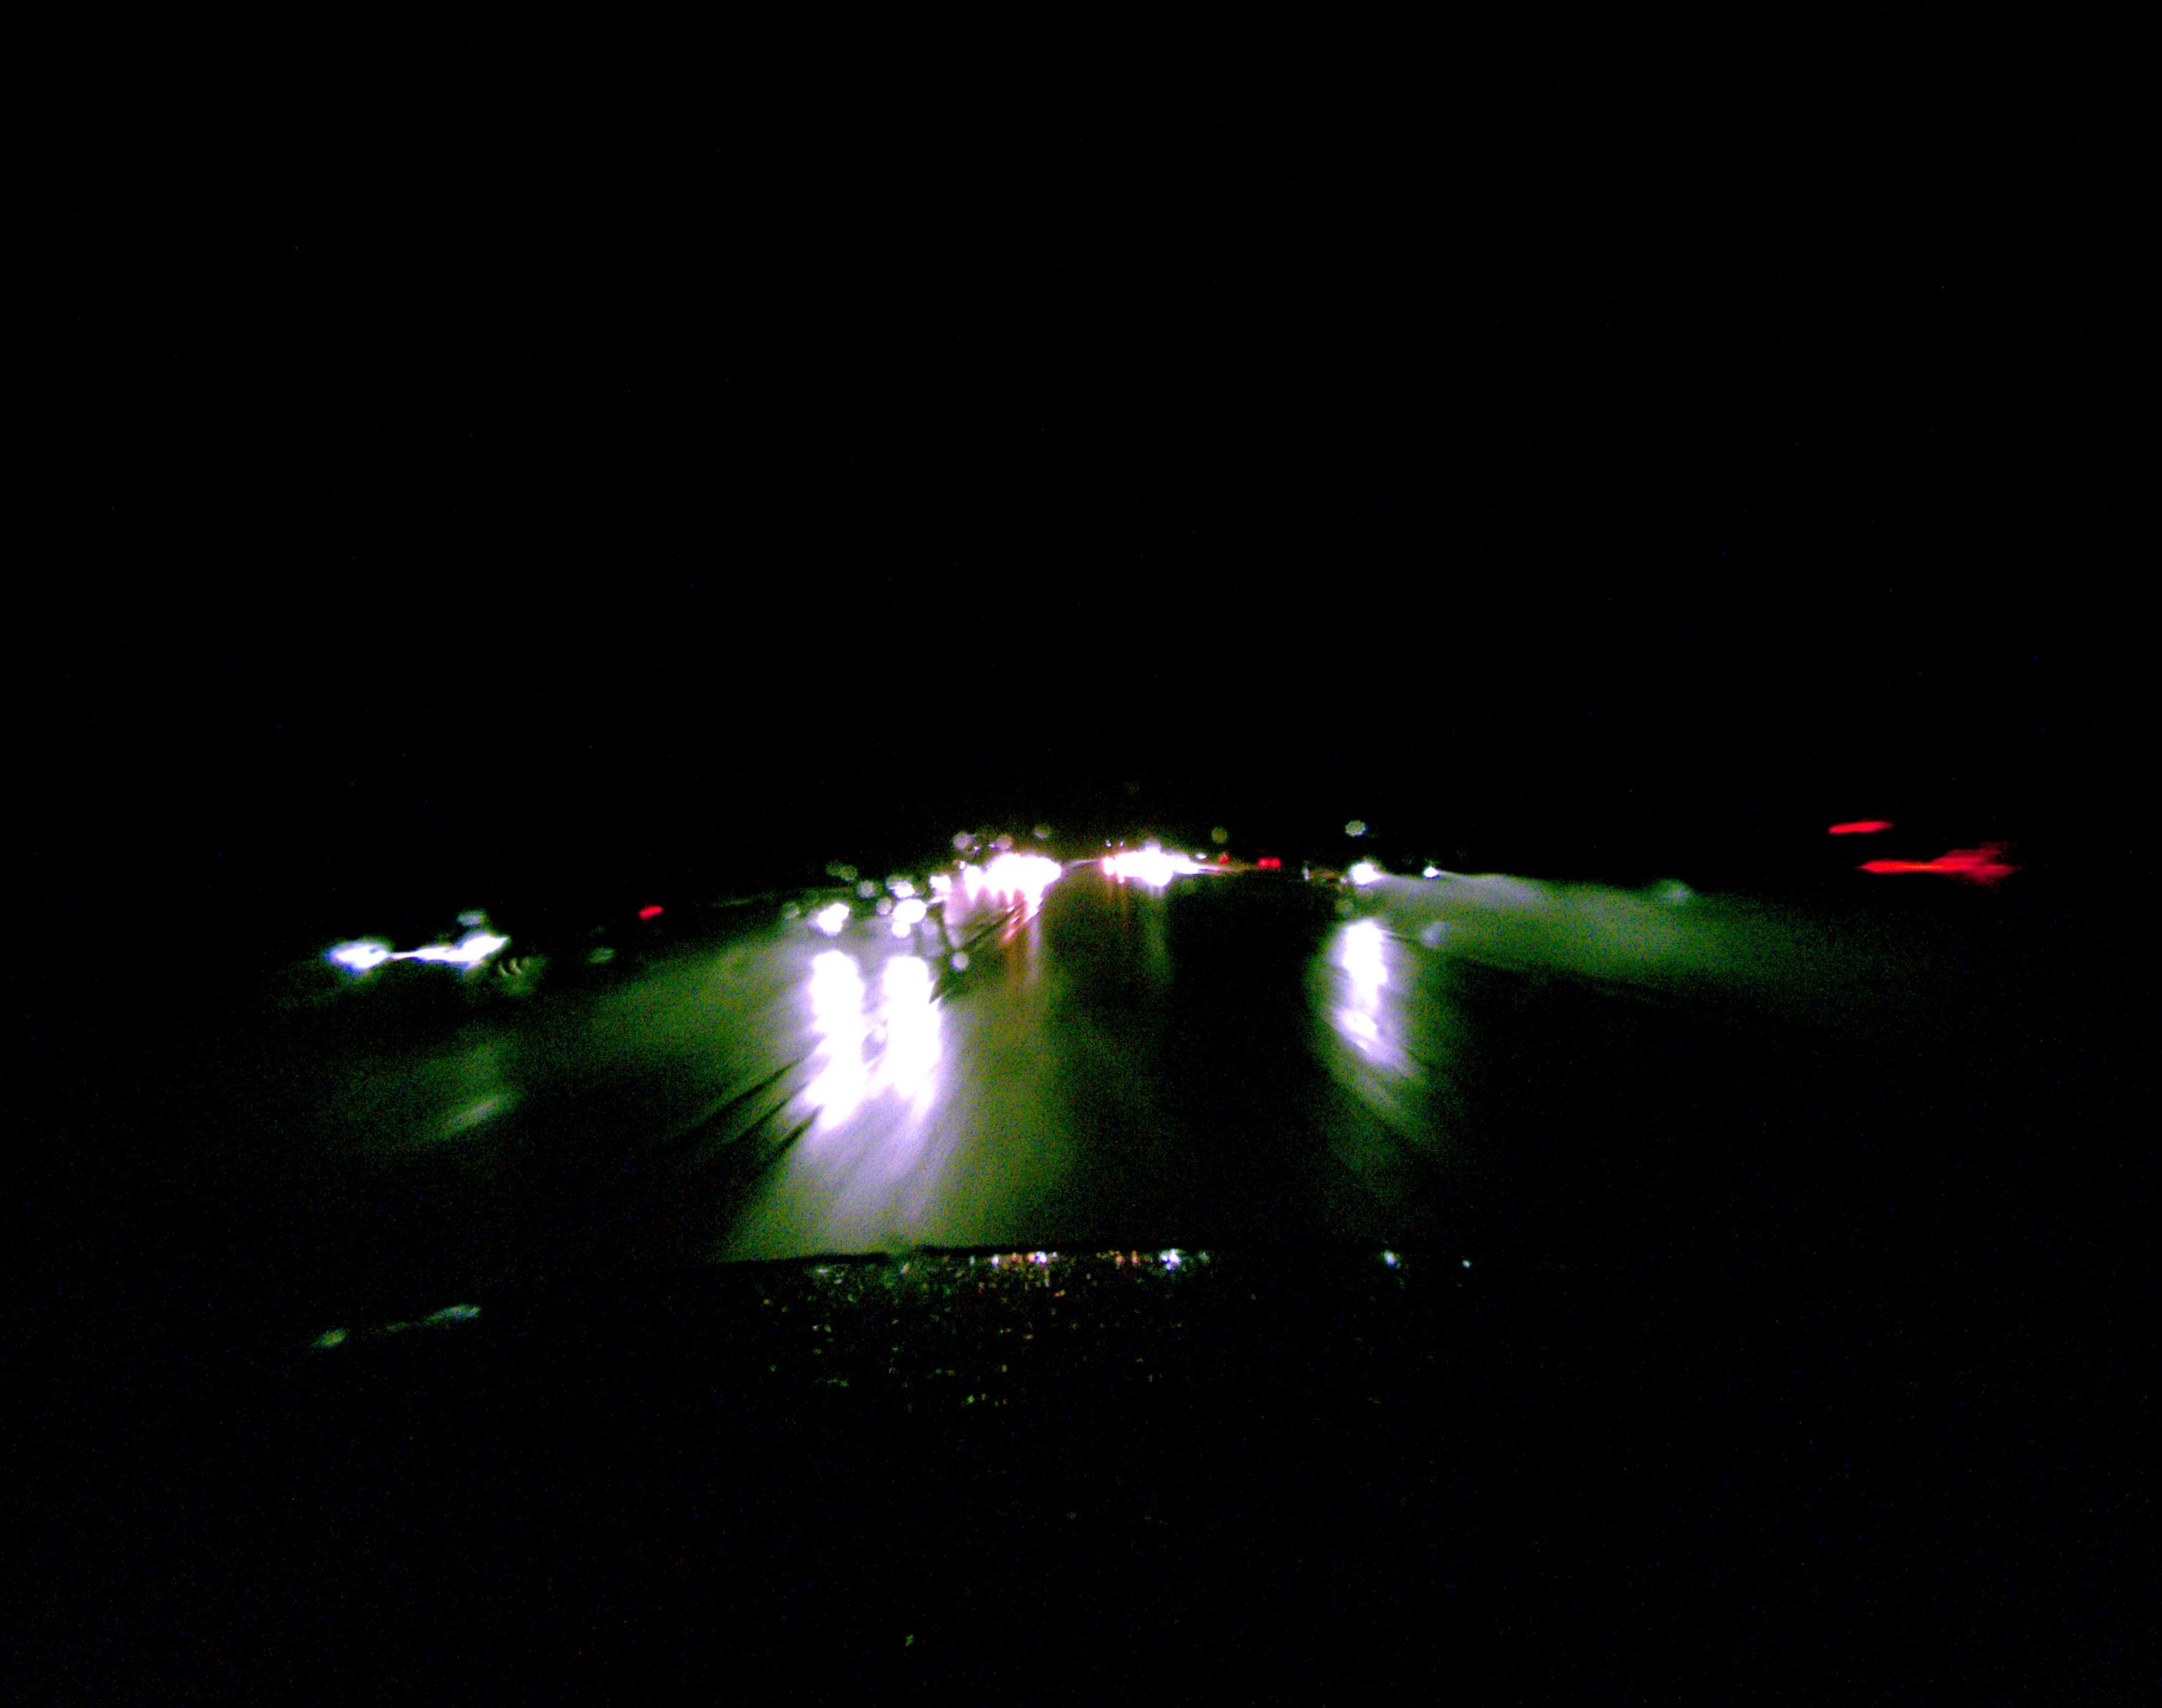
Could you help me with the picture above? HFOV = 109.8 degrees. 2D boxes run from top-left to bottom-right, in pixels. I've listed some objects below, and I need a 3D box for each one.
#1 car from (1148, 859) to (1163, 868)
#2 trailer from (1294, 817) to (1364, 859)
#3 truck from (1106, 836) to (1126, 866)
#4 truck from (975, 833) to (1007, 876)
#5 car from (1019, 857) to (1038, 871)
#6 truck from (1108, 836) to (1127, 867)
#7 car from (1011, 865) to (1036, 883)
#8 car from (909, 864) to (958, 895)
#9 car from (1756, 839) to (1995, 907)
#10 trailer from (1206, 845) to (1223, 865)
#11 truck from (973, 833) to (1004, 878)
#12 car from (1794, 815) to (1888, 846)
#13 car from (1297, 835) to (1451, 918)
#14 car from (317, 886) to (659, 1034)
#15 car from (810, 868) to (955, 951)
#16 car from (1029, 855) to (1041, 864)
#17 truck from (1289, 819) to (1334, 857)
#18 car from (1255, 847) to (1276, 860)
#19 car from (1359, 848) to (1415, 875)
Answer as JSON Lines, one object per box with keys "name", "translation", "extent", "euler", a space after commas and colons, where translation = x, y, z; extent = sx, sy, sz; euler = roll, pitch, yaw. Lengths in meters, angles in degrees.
{"name": "car", "translation": [10.830, 1.421, 110.621], "extent": [1.711, 1.286, 3.991], "euler": [1, -1, -1]}
{"name": "trailer", "translation": [25.700, -1.693, 79.732], "extent": [2.820, 3.976, 13.926], "euler": [1, 2, 1]}
{"name": "truck", "translation": [5.290, -0.601, 116.922], "extent": [2.503, 4.224, 13.638], "euler": [1, 2, 0]}
{"name": "truck", "translation": [-9.538, -0.130, 81.634], "extent": [2.766, 4.199, 13.817], "euler": [1, 2, -4]}
{"name": "car", "translation": [-5.078, 0.991, 73.023], "extent": [1.712, 1.286, 3.990], "euler": [1, -1, -5]}
{"name": "truck", "translation": [5.260, -0.398, 110.149], "extent": [2.503, 4.224, 5.980], "euler": [1, 2, 0]}
{"name": "car", "translation": [-4.224, 1.471, 55.720], "extent": [1.712, 1.286, 3.990], "euler": [1, -1, -5]}
{"name": "car", "translation": [-7.970, 1.351, 41.433], "extent": [1.793, 1.477, 4.328], "euler": [-3, 0, -1]}
{"name": "car", "translation": [20.407, 0.406, 19.848], "extent": [1.736, 1.517, 4.291], "euler": [1, 2, 1]}
{"name": "trailer", "translation": [33.576, 0.113, 191.562], "extent": [2.554, 4.518, 13.915], "euler": [1, 2, 2]}
{"name": "truck", "translation": [-9.009, 0.080, 74.571], "extent": [2.766, 4.199, 6.190], "euler": [1, 2, -4]}
{"name": "car", "translation": [52.238, -1.570, 52.379], "extent": [1.998, 1.922, 4.687], "euler": [-2, 0, 5]}
{"name": "car", "translation": [7.552, 0.441, 20.314], "extent": [2.142, 1.874, 5.554], "euler": [-1, 2, 2]}
{"name": "car", "translation": [-8.055, 1.321, 10.916], "extent": [1.724, 1.488, 4.043], "euler": [-3, 0, -1]}
{"name": "car", "translation": [-4.194, 1.118, 16.849], "extent": [1.998, 1.440, 4.335], "euler": [-3, 0, 0]}
{"name": "car", "translation": [-6.924, 0.867, 113.650], "extent": [1.712, 1.286, 3.990], "euler": [1, -1, -5]}
{"name": "truck", "translation": [25.773, -1.844, 85.419], "extent": [2.820, 3.984, 7.347], "euler": [1, 2, 1]}
{"name": "car", "translation": [21.268, -0.072, 87.836], "extent": [1.618, 1.292, 3.701], "euler": [1, 2, 2]}
{"name": "car", "translation": [19.310, 0.425, 48.162], "extent": [1.844, 1.517, 4.291], "euler": [1, 2, 1]}
